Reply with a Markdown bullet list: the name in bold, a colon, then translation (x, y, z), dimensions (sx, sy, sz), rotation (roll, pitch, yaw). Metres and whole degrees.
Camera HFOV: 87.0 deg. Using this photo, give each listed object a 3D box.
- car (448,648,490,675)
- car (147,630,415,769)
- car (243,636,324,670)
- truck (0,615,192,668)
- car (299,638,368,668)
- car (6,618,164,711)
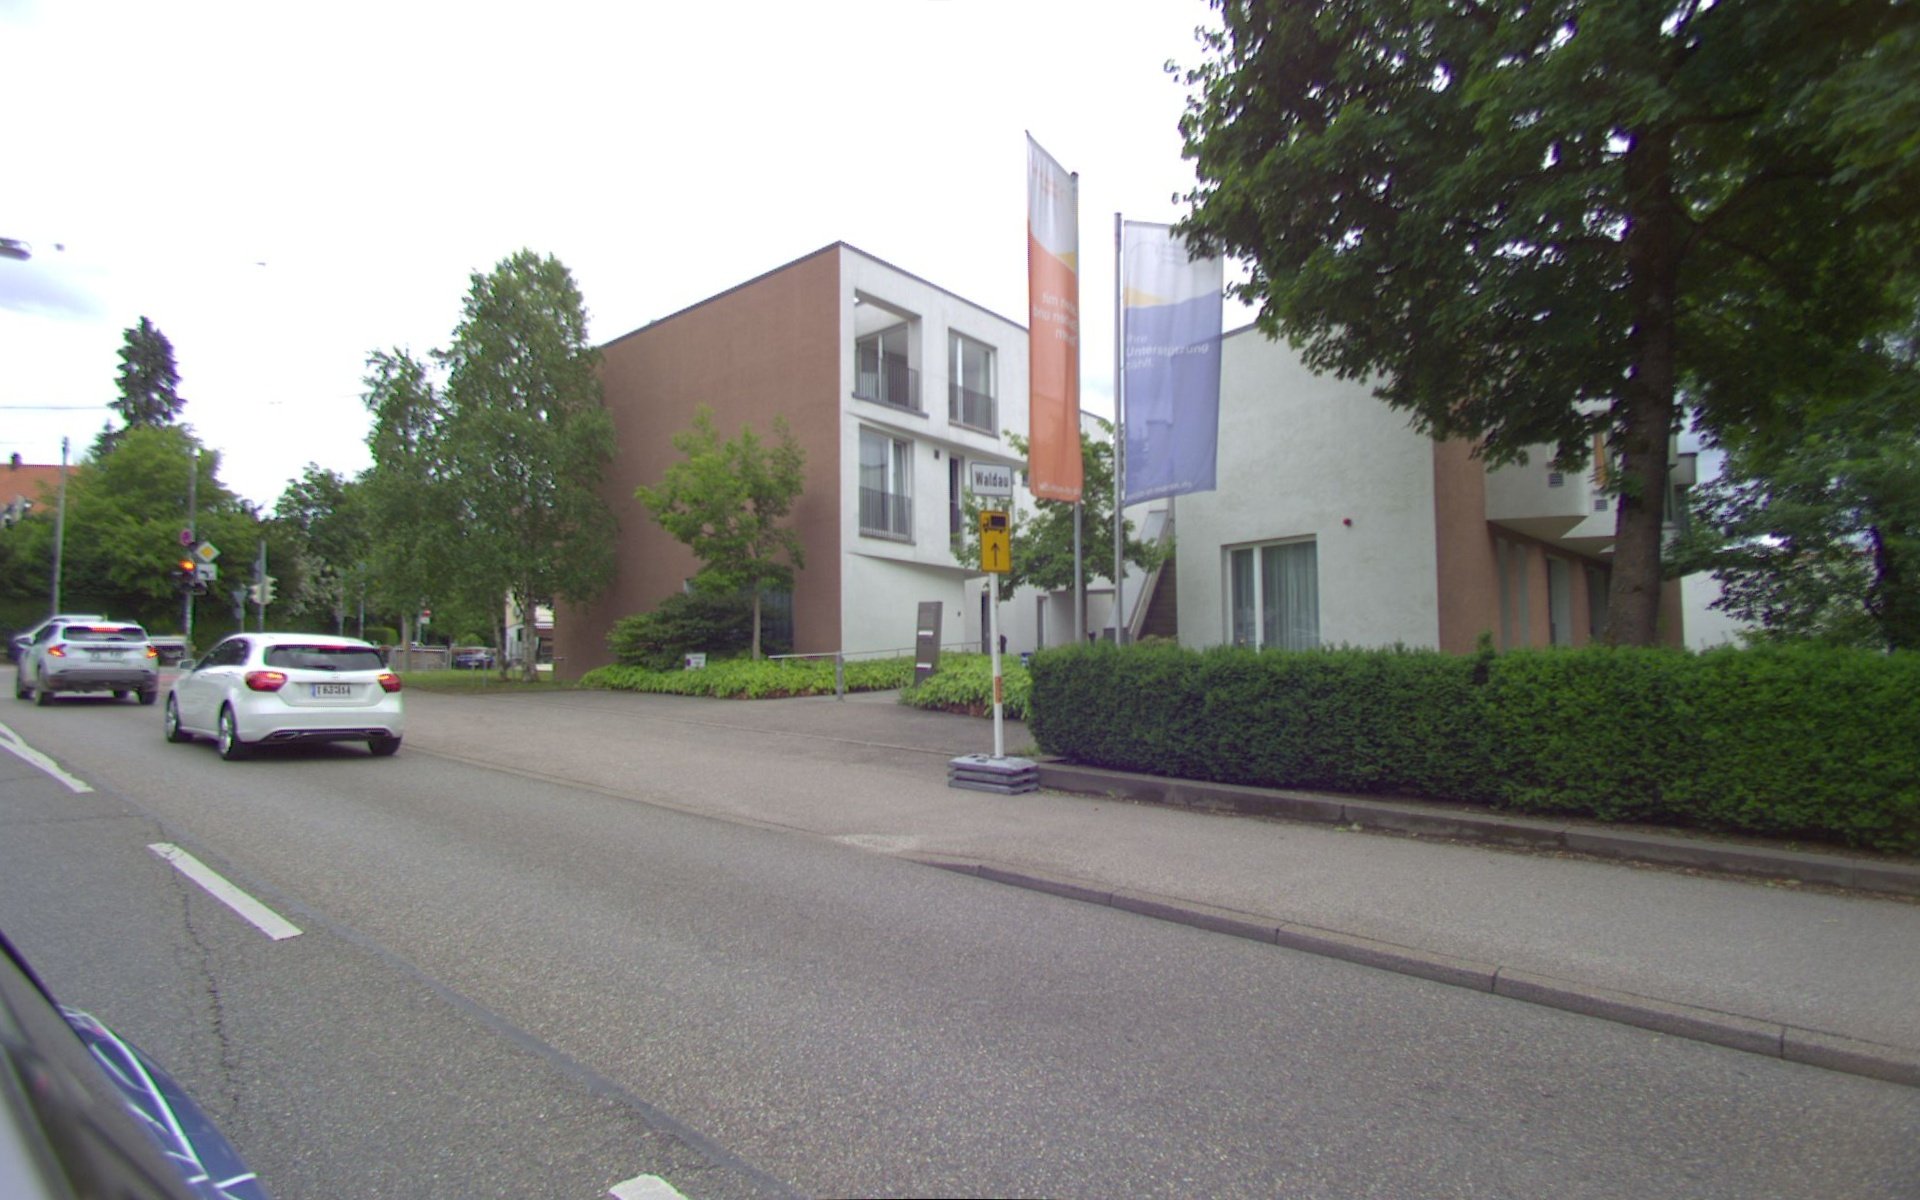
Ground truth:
- **car**: translation (-27.600, 3.450, 56.968), dimensions (1.848, 1.460, 4.013), rotation (3, -4, -23)
- **car**: translation (-8.547, 1.138, 12.612), dimensions (4.064, 1.432, 1.747), rotation (-1, -5, 42)
- **car**: translation (-34.732, 2.744, 52.083), dimensions (1.968, 1.625, 4.008), rotation (2, -4, -10)
- **truck**: translation (-38.046, 1.824, 44.639), dimensions (6.609, 2.205, 2.535), rotation (2, -3, -38)
- **car**: translation (-35.591, 3.037, 57.635), dimensions (1.968, 1.625, 4.008), rotation (2, -4, -10)
- **car**: translation (-17.544, 1.267, 20.219), dimensions (4.300, 1.650, 1.750), rotation (-1, -6, 42)
